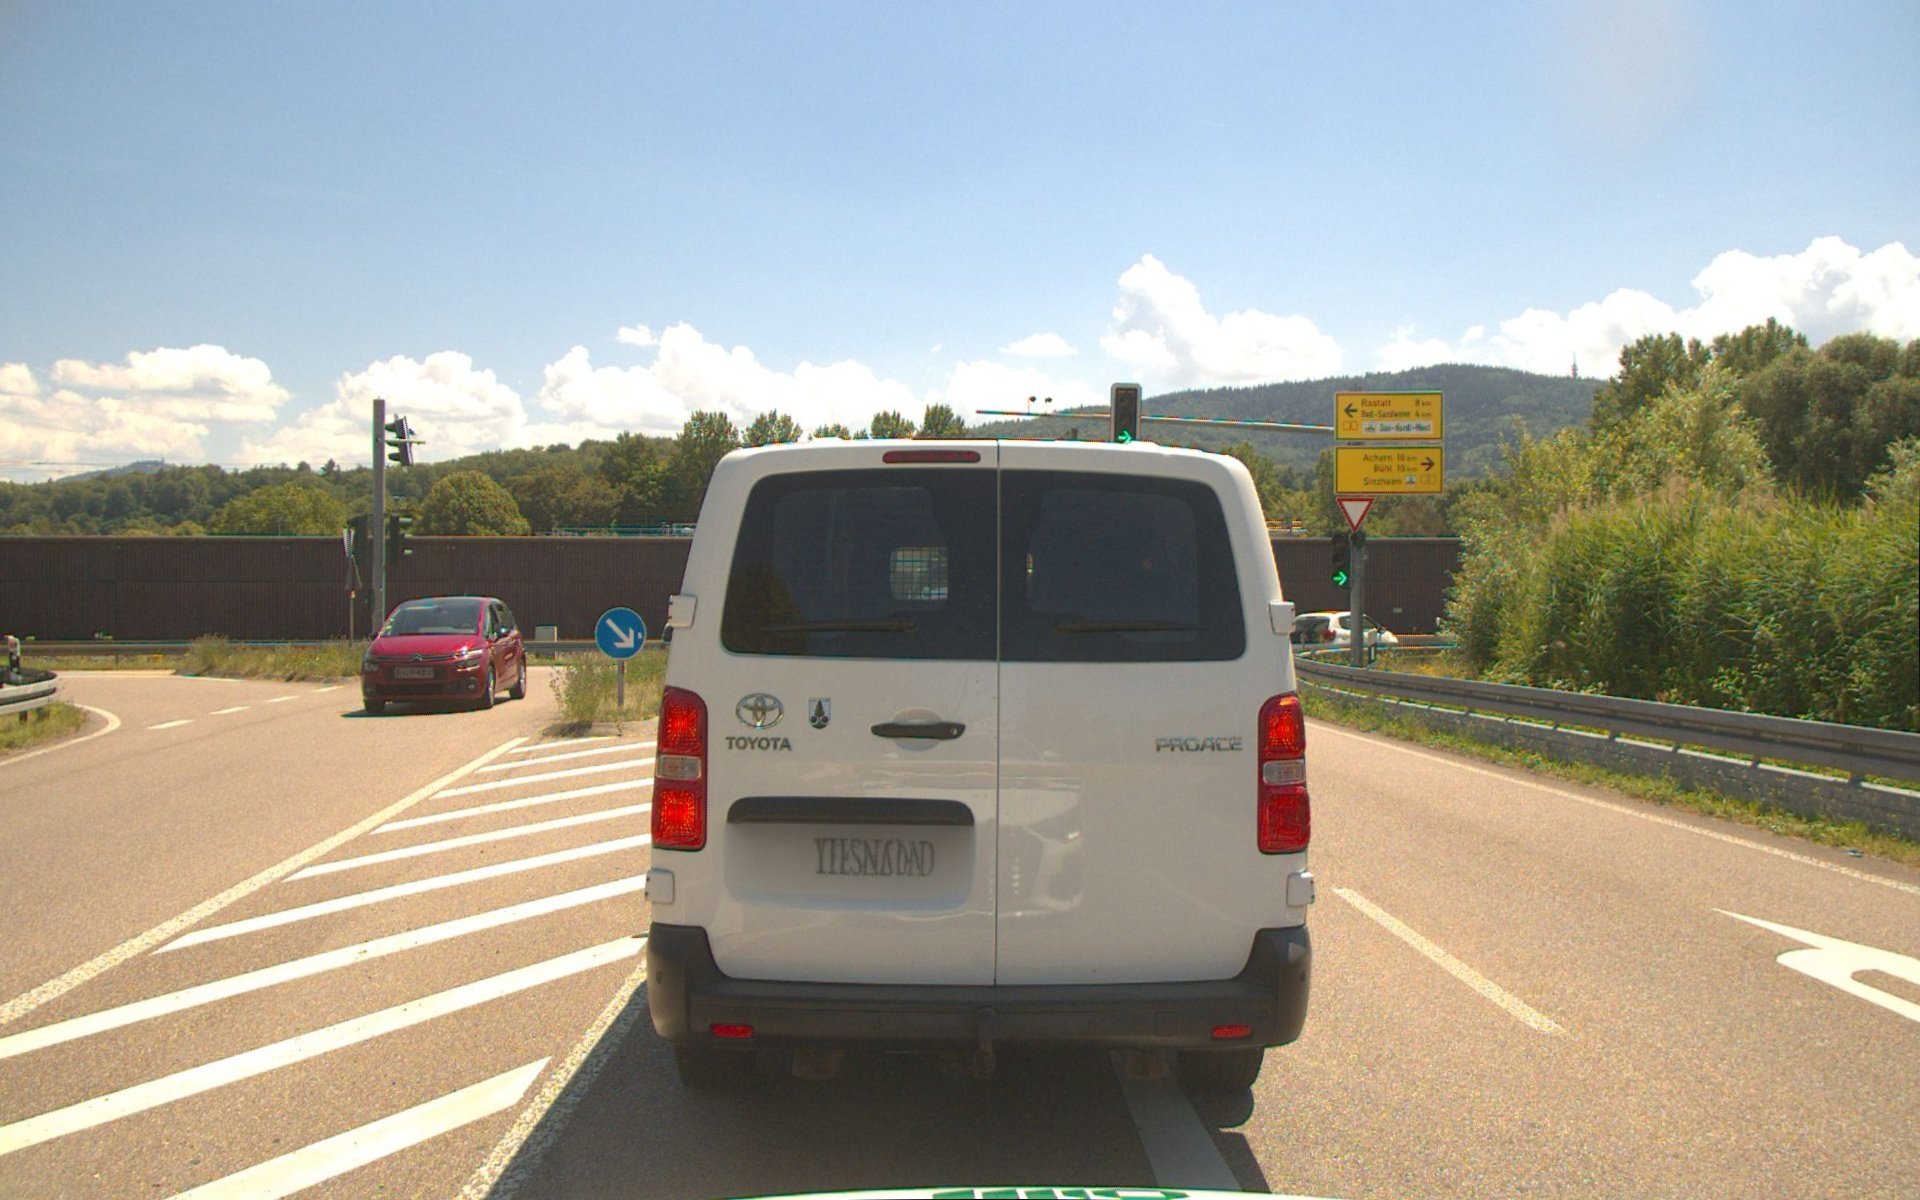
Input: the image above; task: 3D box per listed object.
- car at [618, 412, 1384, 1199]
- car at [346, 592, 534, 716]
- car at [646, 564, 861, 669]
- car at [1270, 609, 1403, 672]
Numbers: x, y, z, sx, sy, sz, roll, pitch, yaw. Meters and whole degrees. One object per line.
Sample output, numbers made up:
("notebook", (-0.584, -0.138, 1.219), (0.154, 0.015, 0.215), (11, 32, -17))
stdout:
("car", (0.057, 0.531, 6.022), (1.848, 1.919, 3.998), (1, -1, -2))
("car", (-7.822, 0.766, 25.297), (1.956, 1.685, 4.317), (-1, 0, -7))
("car", (-5.172, 0.407, 42.031), (5.318, 2.493, 2.007), (0, -1, -43))
("car", (9.224, 0.966, 40.420), (3.339, 1.456, 1.634), (1, -1, -44))
